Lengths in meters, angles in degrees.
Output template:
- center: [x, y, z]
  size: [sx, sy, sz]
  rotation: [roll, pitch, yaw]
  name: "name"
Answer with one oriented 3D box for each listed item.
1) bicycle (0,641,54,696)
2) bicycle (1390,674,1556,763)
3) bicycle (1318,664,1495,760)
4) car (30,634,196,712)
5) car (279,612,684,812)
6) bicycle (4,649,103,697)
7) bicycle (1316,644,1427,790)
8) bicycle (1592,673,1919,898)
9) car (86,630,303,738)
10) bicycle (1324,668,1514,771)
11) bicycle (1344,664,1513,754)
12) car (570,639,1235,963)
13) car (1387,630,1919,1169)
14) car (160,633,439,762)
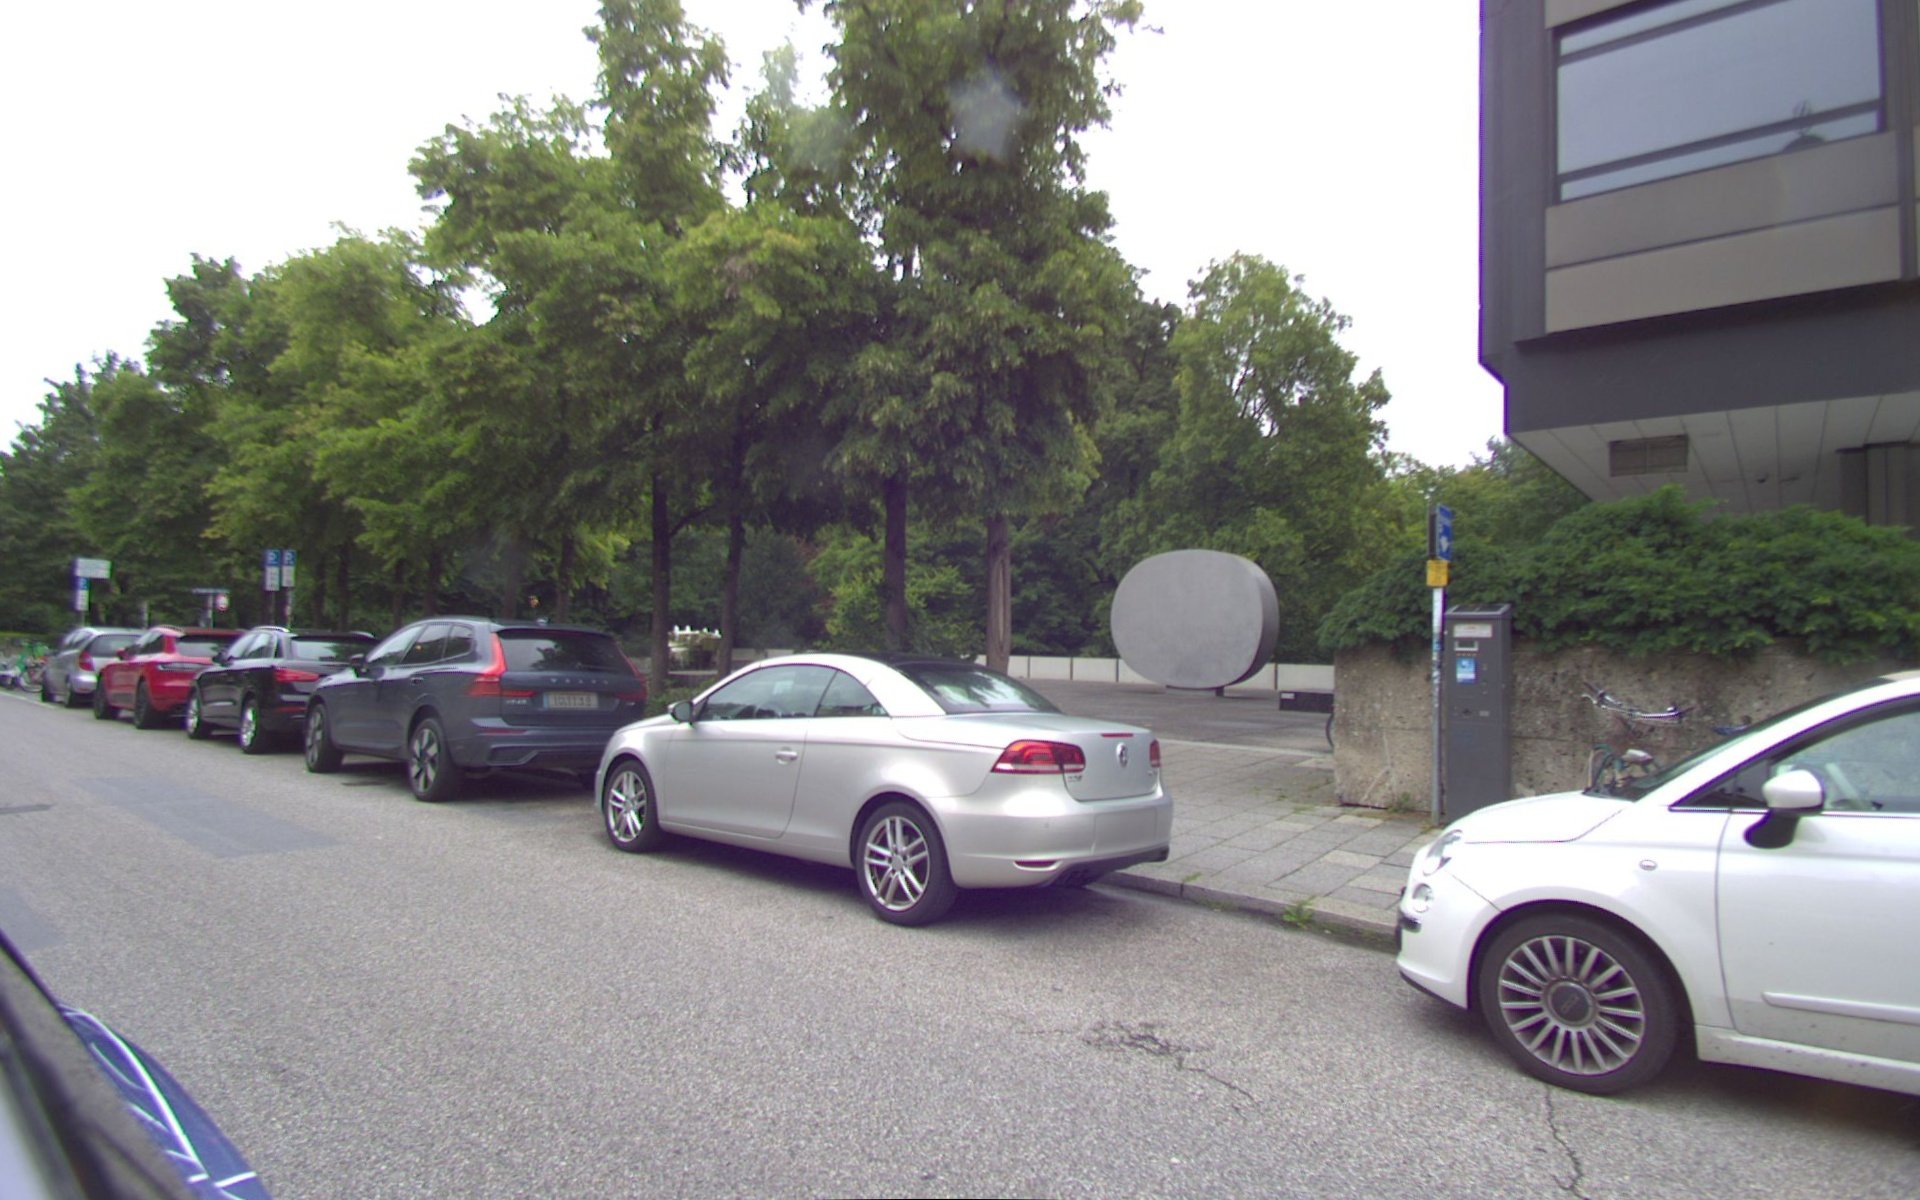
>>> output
- center: [-23.412, 1.697, 25.329]
  size: [0.566, 1.292, 1.423]
  rotation: [0, -2, -18]
  name: "bicycle"
- center: [7.922, 1.794, 15.714]
  size: [2.181, 1.226, 0.741]
  rotation: [-2, -4, 41]
  name: "bicycle"
- center: [6.318, 1.543, 14.410]
  size: [2.181, 1.226, 0.741]
  rotation: [-2, -4, 41]
  name: "bicycle"
- center: [-17.920, 1.479, 21.344]
  size: [4.361, 1.472, 1.973]
  rotation: [-2, -4, 41]
  name: "car"
- center: [-5.001, 0.992, 10.306]
  size: [4.518, 1.595, 1.973]
  rotation: [-2, -4, 40]
  name: "car"
- center: [-22.022, 1.755, 24.615]
  size: [0.596, 1.116, 1.682]
  rotation: [-1, -2, 31]
  name: "bicycle"
- center: [4.291, 1.129, 10.458]
  size: [0.689, 1.283, 2.158]
  rotation: [-1, -1, 32]
  name: "bicycle"
- center: [4.892, 1.077, 6.322]
  size: [1.525, 1.173, 0.636]
  rotation: [-2, -1, 39]
  name: "bicycle"
- center: [-12.809, 1.314, 16.845]
  size: [4.361, 1.556, 1.973]
  rotation: [-2, -4, 41]
  name: "car"
- center: [6.060, 1.534, 13.457]
  size: [2.181, 1.226, 0.741]
  rotation: [-2, -4, 41]
  name: "bicycle"
- center: [6.979, 1.589, 15.162]
  size: [2.181, 1.226, 0.741]
  rotation: [-2, -4, 41]
  name: "bicycle"
- center: [-0.579, 1.019, 6.541]
  size: [4.214, 1.411, 1.740]
  rotation: [-2, -6, 40]
  name: "car"
- center: [3.420, 0.869, 3.185]
  size: [3.550, 1.482, 1.528]
  rotation: [-2, -5, 40]
  name: "car"
- center: [-9.171, 1.218, 13.900]
  size: [4.644, 1.472, 1.973]
  rotation: [-2, -4, 41]
  name: "car"
